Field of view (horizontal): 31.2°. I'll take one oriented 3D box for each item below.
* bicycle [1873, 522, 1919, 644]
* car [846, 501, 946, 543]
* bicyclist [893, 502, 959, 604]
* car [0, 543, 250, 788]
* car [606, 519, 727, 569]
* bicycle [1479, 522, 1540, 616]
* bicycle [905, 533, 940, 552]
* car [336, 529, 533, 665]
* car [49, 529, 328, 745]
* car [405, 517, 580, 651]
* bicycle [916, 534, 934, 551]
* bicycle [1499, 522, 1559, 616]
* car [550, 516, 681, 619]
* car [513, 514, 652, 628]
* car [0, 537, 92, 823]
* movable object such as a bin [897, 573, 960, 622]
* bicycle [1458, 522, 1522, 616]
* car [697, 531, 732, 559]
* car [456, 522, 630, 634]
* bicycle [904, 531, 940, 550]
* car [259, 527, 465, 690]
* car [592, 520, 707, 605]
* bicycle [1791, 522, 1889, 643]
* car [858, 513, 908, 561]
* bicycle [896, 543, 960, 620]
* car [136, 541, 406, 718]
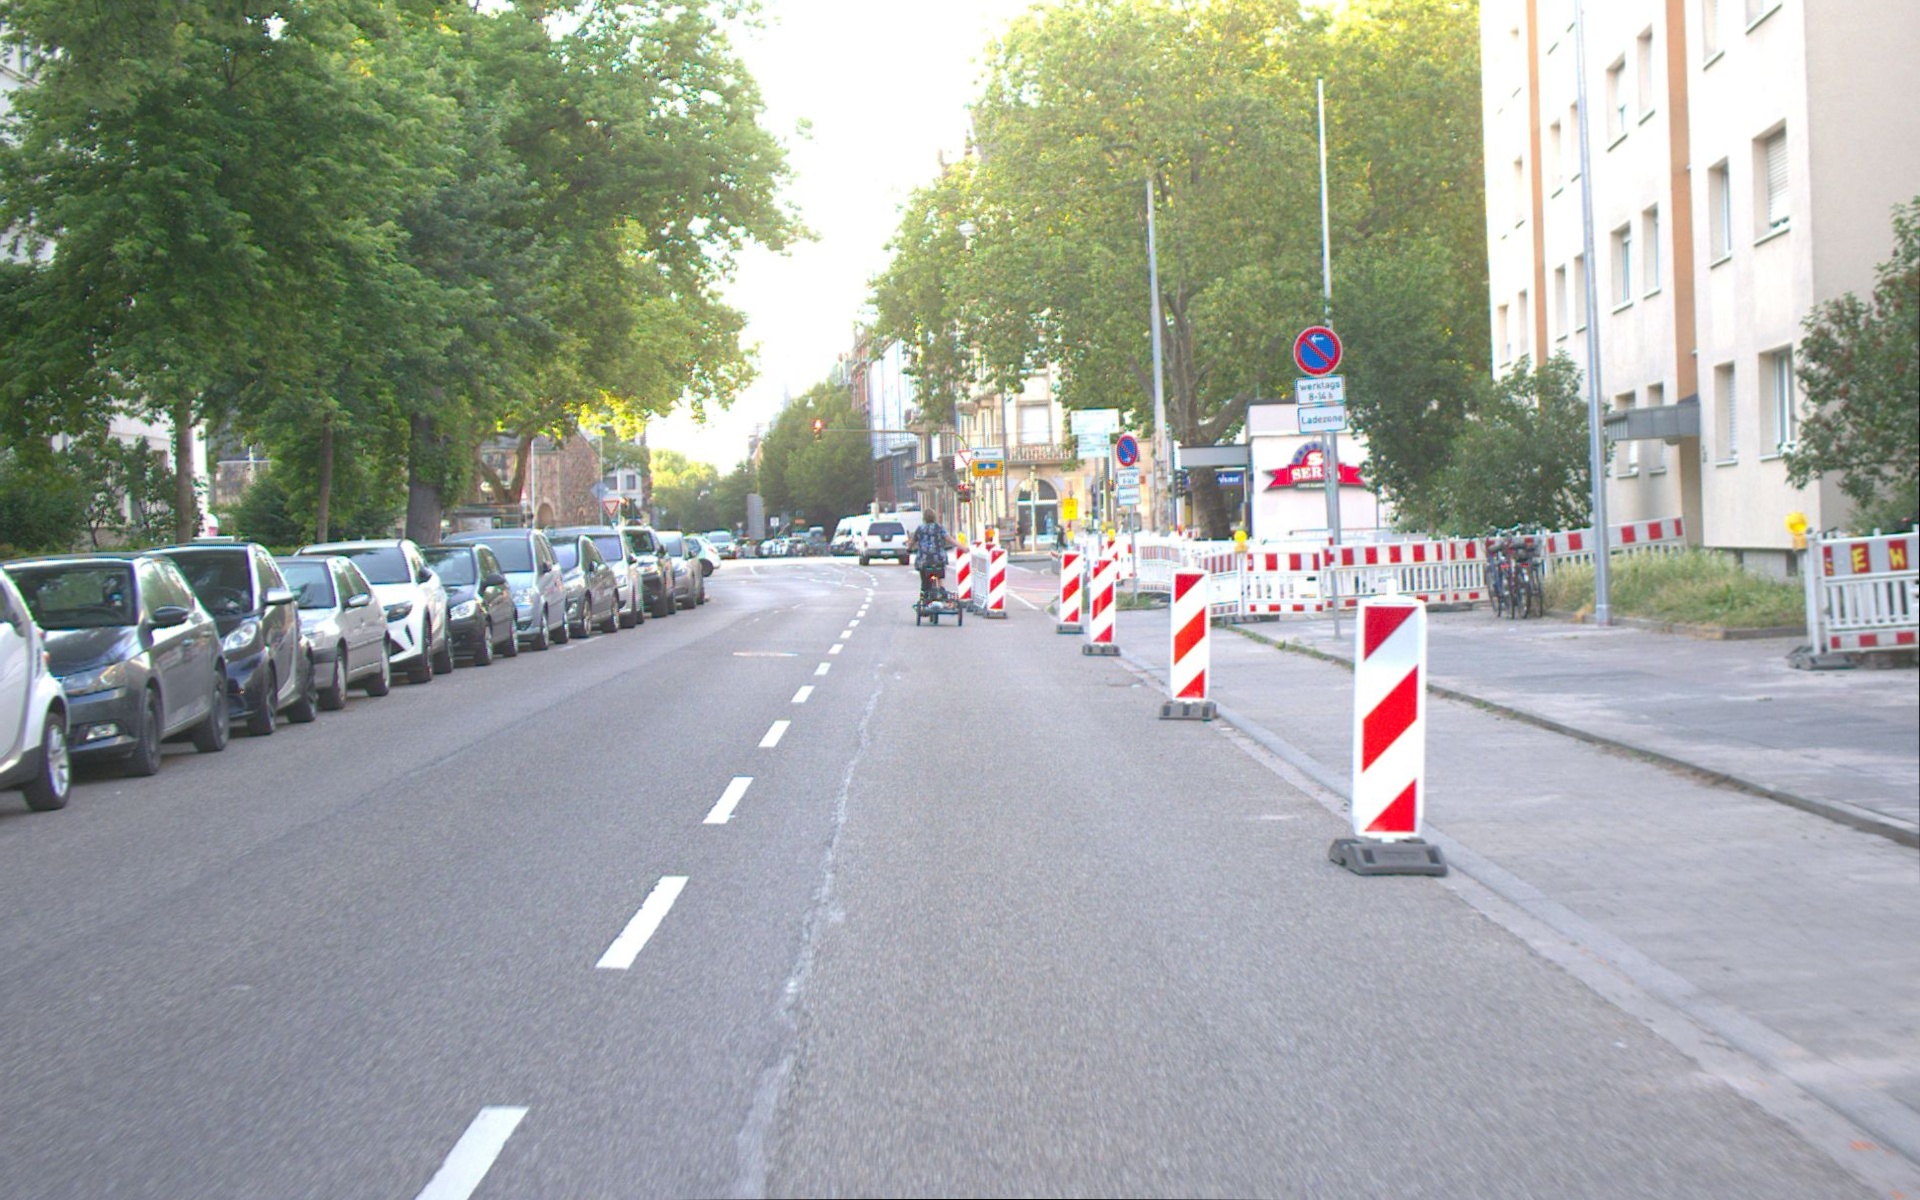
[{"bbox_3d":[9.503,-0.185,33.925,0.556,1.168,1.817,-1,1,2],"label":"bicycle"},{"bbox_3d":[-3.645,-4.464,197.600,5.807,2.280,2.071,-3,2,-43],"label":"car"},{"bbox_3d":[-0.545,-0.768,55.750,0.939,1.576,1.146,-4,1,0],"label":"bicyclist"},{"bbox_3d":[-6.050,0.404,23.507,1.590,1.461,4.102,-4,1,-2],"label":"car"},{"bbox_3d":[-10.385,-1.991,121.789,3.987,1.580,1.872,-2,1,2],"label":"car"},{"bbox_3d":[7.360,-0.425,46.103,0.398,1.217,1.911,-1,1,-3],"label":"bicycle"},{"bbox_3d":[-2.086,-3.202,191.393,1.914,0.965,0.546,-1,1,-2],"label":"bicycle"},{"bbox_3d":[-6.294,-0.073,41.553,1.707,1.447,3.843,-4,1,0],"label":"car"},{"bbox_3d":[-6.130,0.250,27.617,1.523,1.524,3.165,-4,1,-2],"label":"car"},{"bbox_3d":[-6.206,-0.245,46.006,1.707,1.595,4.117,-4,1,-1],"label":"car"},{"bbox_3d":[-1.968,-3.236,193.541,0.544,0.965,1.920,-1,1,13],"label":"bicycle"},{"bbox_3d":[7.612,-0.425,46.037,0.398,1.217,1.826,-1,1,-3],"label":"bicycle"},{"bbox_3d":[-6.320,-0.623,63.487,1.953,1.713,4.771,-3,1,-1],"label":"car"},{"bbox_3d":[-6.123,-0.500,56.233,1.846,1.685,4.860,-3,1,-2],"label":"car"},{"bbox_3d":[-5.969,0.484,18.674,1.590,1.524,2.921,-4,1,1],"label":"car"},{"bbox_3d":[-0.491,-0.044,54.238,0.939,0.686,0.993,-4,1,0],"label":"movable object such as a bin"},{"bbox_3d":[7.087,-0.424,46.011,0.451,1.217,1.911,-1,1,-3],"label":"bicycle"},{"bbox_3d":[-14.429,-3.230,202.047,1.781,1.645,3.822,0,1,-9],"label":"car"},{"bbox_3d":[-6.105,-0.359,50.773,1.733,1.492,4.270,-3,1,4],"label":"car"},{"bbox_3d":[-2.116,-3.315,191.254,1.914,0.965,0.546,-1,1,-2],"label":"bicycle"},{"bbox_3d":[-6.397,0.052,37.159,1.590,1.533,4.207,-4,1,-3],"label":"car"},{"bbox_3d":[-6.406,-0.798,71.325,1.953,1.611,4.605,-3,1,-1],"label":"car"},{"bbox_3d":[8.772,-0.192,34.320,0.556,1.168,1.817,-1,1,2],"label":"bicycle"},{"bbox_3d":[-3.038,-2.478,135.226,1.866,1.808,4.001,-2,1,-2],"label":"car"},{"bbox_3d":[-0.511,-0.307,55.907,0.939,1.168,2.359,-4,1,0],"label":"bicycle"},{"bbox_3d":[-6.279,0.219,31.736,1.590,1.399,4.181,-4,1,-1],"label":"car"}]
